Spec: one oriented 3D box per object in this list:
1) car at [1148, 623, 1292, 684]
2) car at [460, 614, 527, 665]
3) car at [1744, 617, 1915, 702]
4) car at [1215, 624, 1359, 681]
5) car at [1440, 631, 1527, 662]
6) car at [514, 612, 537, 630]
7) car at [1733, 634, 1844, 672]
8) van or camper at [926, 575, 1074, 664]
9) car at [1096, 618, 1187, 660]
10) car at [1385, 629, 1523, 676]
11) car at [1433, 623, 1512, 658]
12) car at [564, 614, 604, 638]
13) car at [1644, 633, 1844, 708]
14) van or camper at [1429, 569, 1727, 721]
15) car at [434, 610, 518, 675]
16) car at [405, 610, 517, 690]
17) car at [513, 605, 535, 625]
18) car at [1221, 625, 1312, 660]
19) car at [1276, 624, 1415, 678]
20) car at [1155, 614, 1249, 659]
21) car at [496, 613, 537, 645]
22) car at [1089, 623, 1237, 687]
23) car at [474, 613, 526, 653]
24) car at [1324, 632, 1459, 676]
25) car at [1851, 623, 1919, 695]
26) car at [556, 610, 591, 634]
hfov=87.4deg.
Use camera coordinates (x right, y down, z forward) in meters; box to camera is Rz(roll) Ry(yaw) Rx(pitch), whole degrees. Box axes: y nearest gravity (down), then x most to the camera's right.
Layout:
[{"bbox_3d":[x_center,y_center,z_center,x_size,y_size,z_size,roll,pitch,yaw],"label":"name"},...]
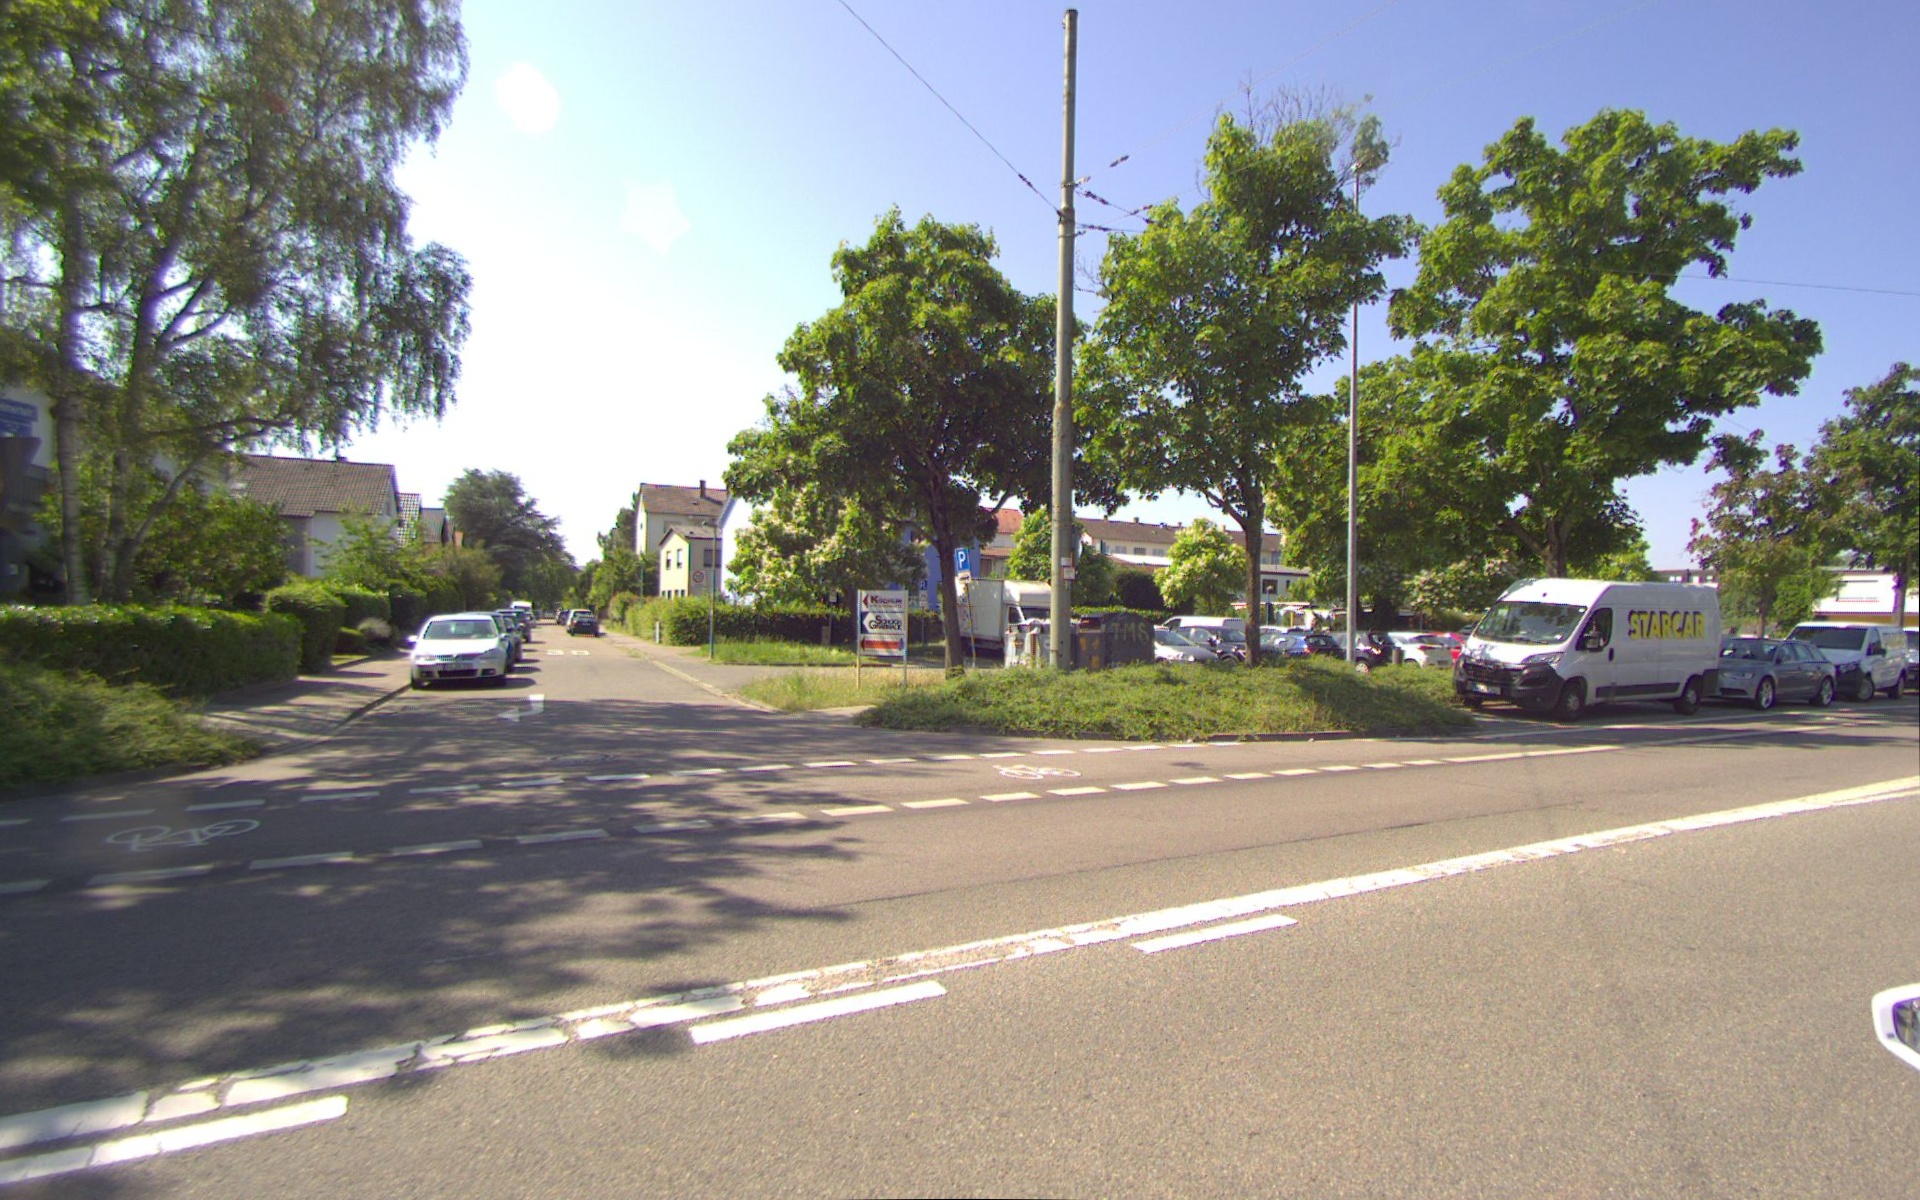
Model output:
[{"bbox_3d":[7.323,1.480,28.636,1.645,1.564,3.965,2,-2,-32],"label":"car"},{"bbox_3d":[-14.440,1.192,31.252,1.740,1.475,3.977,2,-2,-24],"label":"car"},{"bbox_3d":[22.485,1.491,25.911,5.133,1.966,2.182,2,-1,-35],"label":"car"},{"bbox_3d":[9.711,1.534,30.096,1.645,1.564,3.965,2,-2,-32],"label":"car"},{"bbox_3d":[29.188,2.565,56.130,1.767,1.564,3.963,2,-1,-34],"label":"car"},{"bbox_3d":[-39.697,1.924,91.766,1.718,1.550,3.896,3,-2,-21],"label":"car"},{"bbox_3d":[41.188,2.609,49.995,1.645,1.716,3.965,2,-2,-32],"label":"car"},{"bbox_3d":[1.474,0.782,40.980,2.554,3.287,6.911,2,-1,-32],"label":"van or camper"},{"bbox_3d":[8.007,1.681,44.520,1.718,1.751,3.963,2,-1,-33],"label":"car"},{"bbox_3d":[16.734,1.761,34.192,1.712,1.428,3.967,2,-2,-30],"label":"car"},{"bbox_3d":[31.776,2.492,62.403,1.891,2.029,3.963,2,-1,-34],"label":"car"},{"bbox_3d":[-24.596,1.681,65.593,1.975,1.505,3.972,2,-1,-27],"label":"car"},{"bbox_3d":[17.405,1.504,22.248,4.830,1.474,1.922,2,-1,-31],"label":"car"},{"bbox_3d":[11.931,0.850,19.266,6.073,2.548,2.247,2,-1,-30],"label":"van or camper"},{"bbox_3d":[-12.494,1.075,26.121,1.782,1.545,3.977,2,-2,-24],"label":"car"},{"bbox_3d":[-10.574,1.009,21.533,1.781,1.545,3.979,1,-1,-22],"label":"car"},{"bbox_3d":[-46.807,1.648,107.855,1.971,2.040,3.980,1,-1,-21],"label":"car"},{"bbox_3d":[14.648,2.011,48.117,1.767,1.564,3.963,2,-1,-34],"label":"car"},{"bbox_3d":[12.142,1.579,31.893,1.644,1.564,3.967,2,-2,-30],"label":"car"},{"bbox_3d":[10.743,1.590,44.779,1.767,1.916,3.963,2,-1,-34],"label":"car"},{"bbox_3d":[-21.770,1.419,49.291,1.740,1.475,3.977,2,-1,-24],"label":"car"},{"bbox_3d":[5.402,1.444,27.161,1.645,1.564,3.965,2,-2,-32],"label":"car"},{"bbox_3d":[-18.038,1.284,39.465,1.740,1.475,3.977,2,-2,-24],"label":"car"},{"bbox_3d":[14.193,1.759,33.247,1.644,1.287,3.896,2,-2,-30],"label":"car"},{"bbox_3d":[28.405,1.698,29.282,5.125,1.966,2.185,2,-1,-31],"label":"car"},{"bbox_3d":[-27.884,1.586,72.409,1.975,1.649,3.972,2,-1,-27],"label":"car"}]
